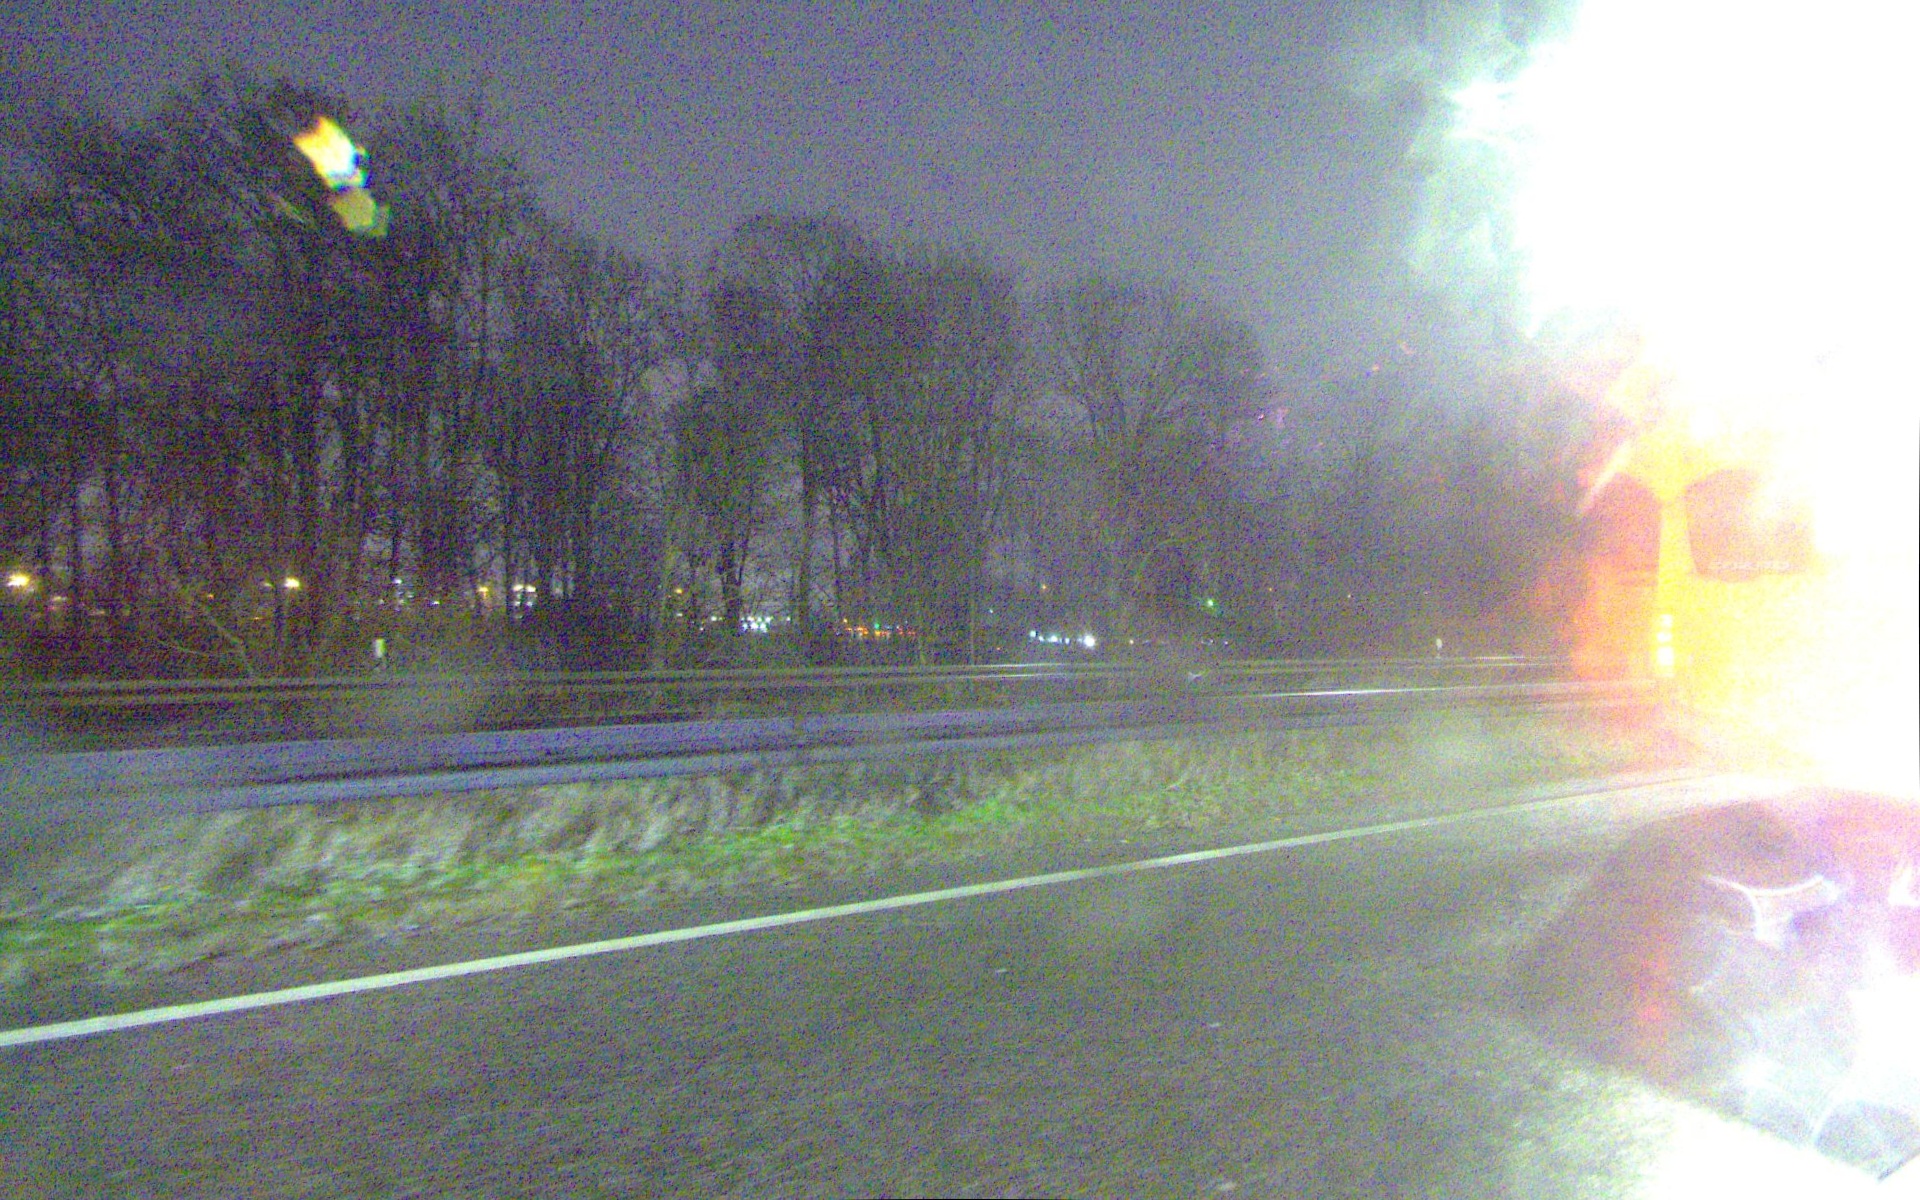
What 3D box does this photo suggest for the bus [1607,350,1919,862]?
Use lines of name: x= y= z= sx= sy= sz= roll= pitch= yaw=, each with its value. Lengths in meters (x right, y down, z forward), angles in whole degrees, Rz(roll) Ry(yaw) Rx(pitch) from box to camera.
bus: x=9.199 y=0.110 z=8.594 sx=8.591 sy=3.064 sz=2.800 roll=1 pitch=0 yaw=-32
